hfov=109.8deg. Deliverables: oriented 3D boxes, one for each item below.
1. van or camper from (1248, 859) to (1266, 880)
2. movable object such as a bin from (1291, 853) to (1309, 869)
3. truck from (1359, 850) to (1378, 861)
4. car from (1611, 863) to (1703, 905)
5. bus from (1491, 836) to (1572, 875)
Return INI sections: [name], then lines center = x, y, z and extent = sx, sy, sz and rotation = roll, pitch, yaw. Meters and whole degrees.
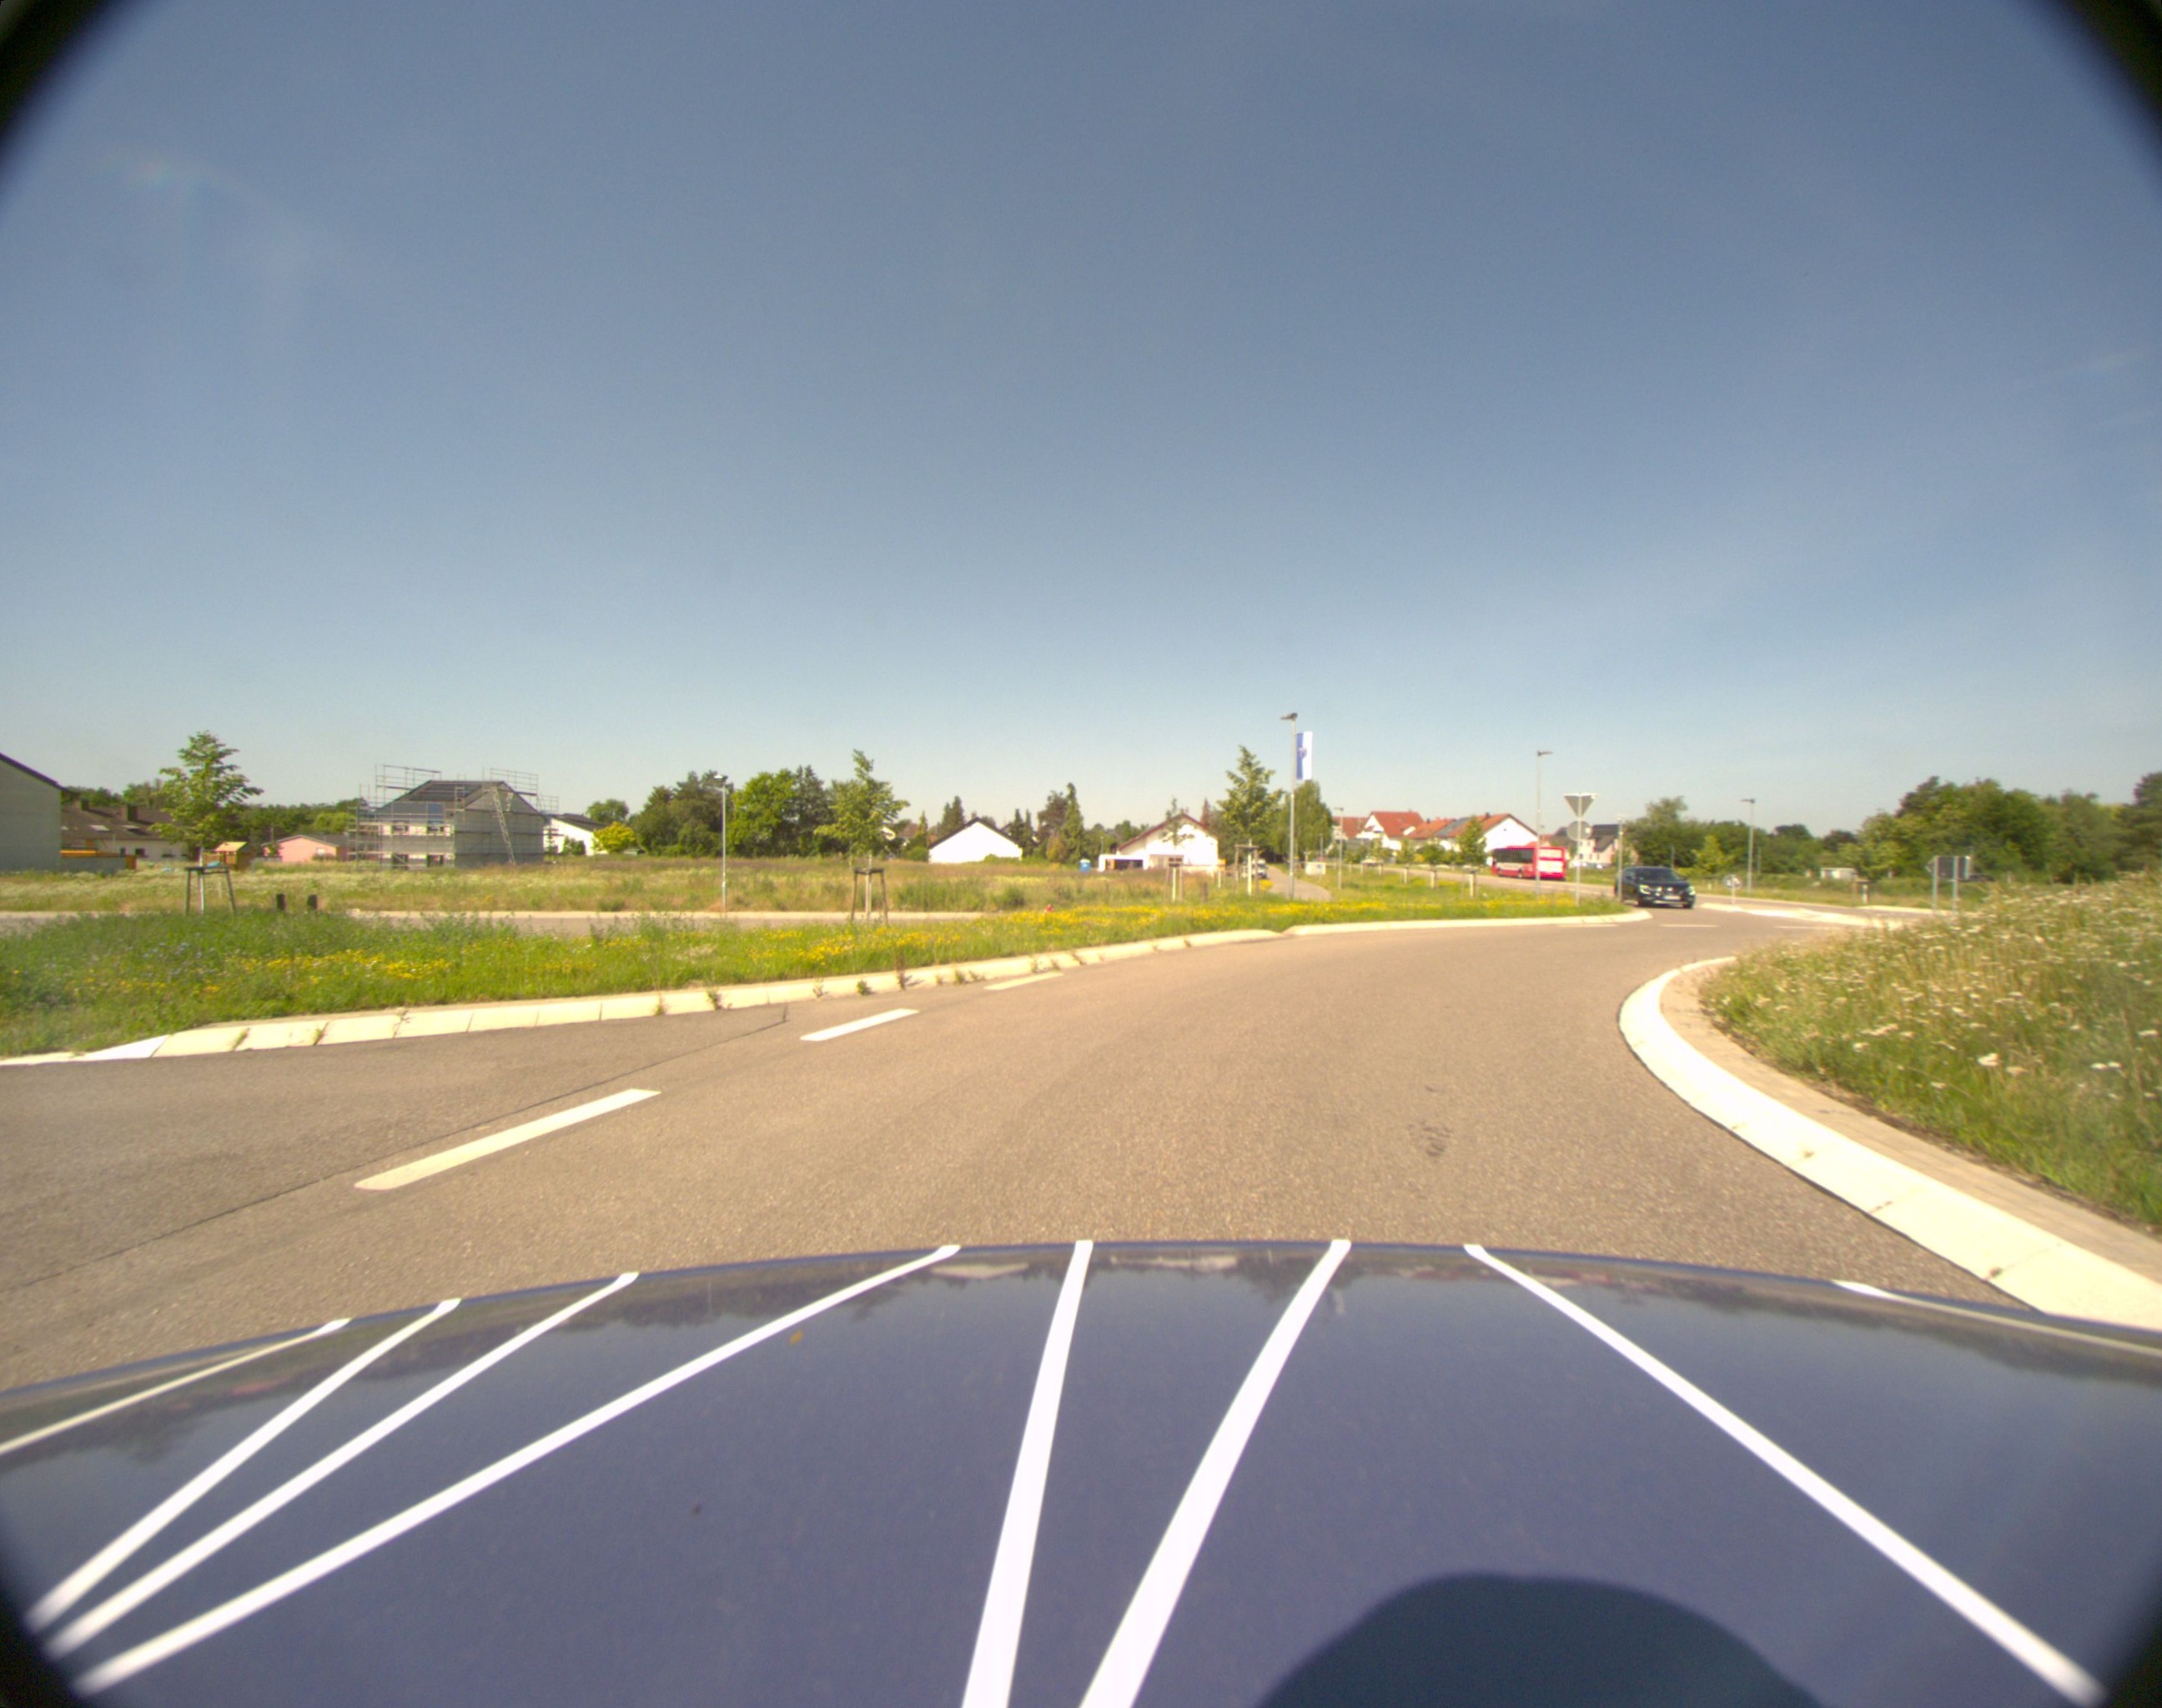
[van or camper]
center = 22.770, 2.019, 98.358
extent = 2.175, 2.585, 6.036
rotation = 0, 0, 12
[movable object such as a bin]
center = 34.366, 1.174, 119.533
extent = 2.320, 2.448, 6.954
rotation = -1, -1, 13
[truck]
center = 52.194, 0.317, 138.140
extent = 1.955, 1.973, 5.647
rotation = 0, 0, 8
[car]
center = 23.582, 1.169, 31.265
extent = 1.930, 1.552, 4.007
rotation = 1, 0, 21
[bus]
center = 41.879, 0.133, 71.188
extent = 2.798, 3.268, 12.242
rotation = 3, 1, 13
